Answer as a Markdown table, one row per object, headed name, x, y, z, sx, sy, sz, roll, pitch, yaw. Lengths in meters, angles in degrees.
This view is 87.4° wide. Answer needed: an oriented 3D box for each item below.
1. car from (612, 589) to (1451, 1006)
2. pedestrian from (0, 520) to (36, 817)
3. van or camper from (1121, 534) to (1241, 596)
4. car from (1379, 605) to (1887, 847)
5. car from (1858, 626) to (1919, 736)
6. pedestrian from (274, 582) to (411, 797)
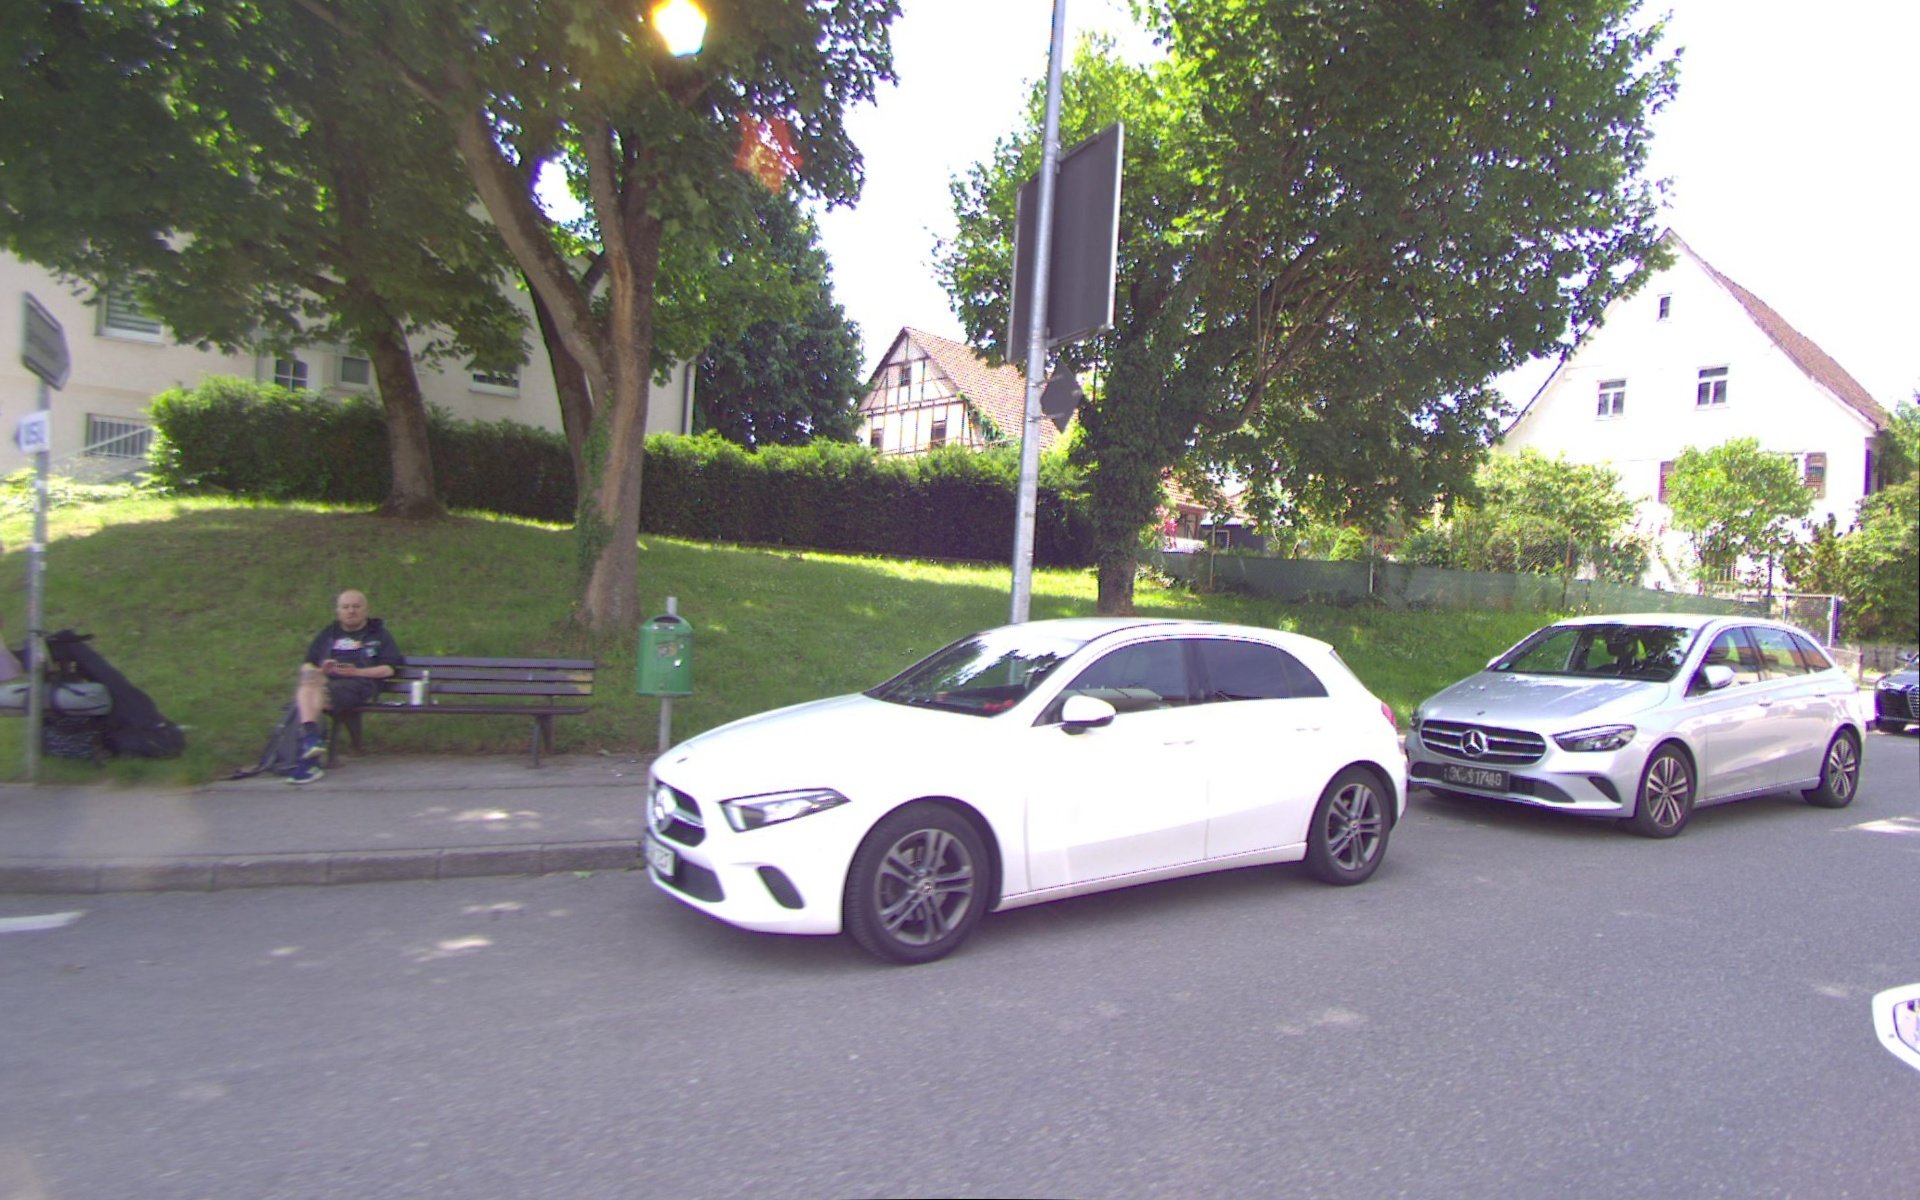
| name | x | y | z | sx | sy | sz | roll | pitch | yaw |
| --- | --- | --- | --- | --- | --- | --- | --- | --- | --- |
| car | 0.532 | 0.759 | 5.443 | 4.312 | 1.486 | 1.746 | 2 | -1 | -30 |
| pedestrian | -5.662 | 0.355 | 5.617 | 0.721 | 1.638 | 0.626 | 4 | 2 | 41 |
| van or camper | 8.133 | -1.275 | 36.933 | 3.954 | 2.041 | 1.983 | 2 | 3 | -31 |
| car | 5.584 | 0.861 | 8.239 | 4.170 | 1.547 | 1.765 | 1 | -1 | -29 |
| car | 15.039 | 1.122 | 14.556 | 4.874 | 1.443 | 1.794 | 1 | 0 | -33 |
| pedestrian | -4.182 | 0.550 | 6.877 | 0.638 | 1.286 | 1.232 | 2 | 2 | -25 |
